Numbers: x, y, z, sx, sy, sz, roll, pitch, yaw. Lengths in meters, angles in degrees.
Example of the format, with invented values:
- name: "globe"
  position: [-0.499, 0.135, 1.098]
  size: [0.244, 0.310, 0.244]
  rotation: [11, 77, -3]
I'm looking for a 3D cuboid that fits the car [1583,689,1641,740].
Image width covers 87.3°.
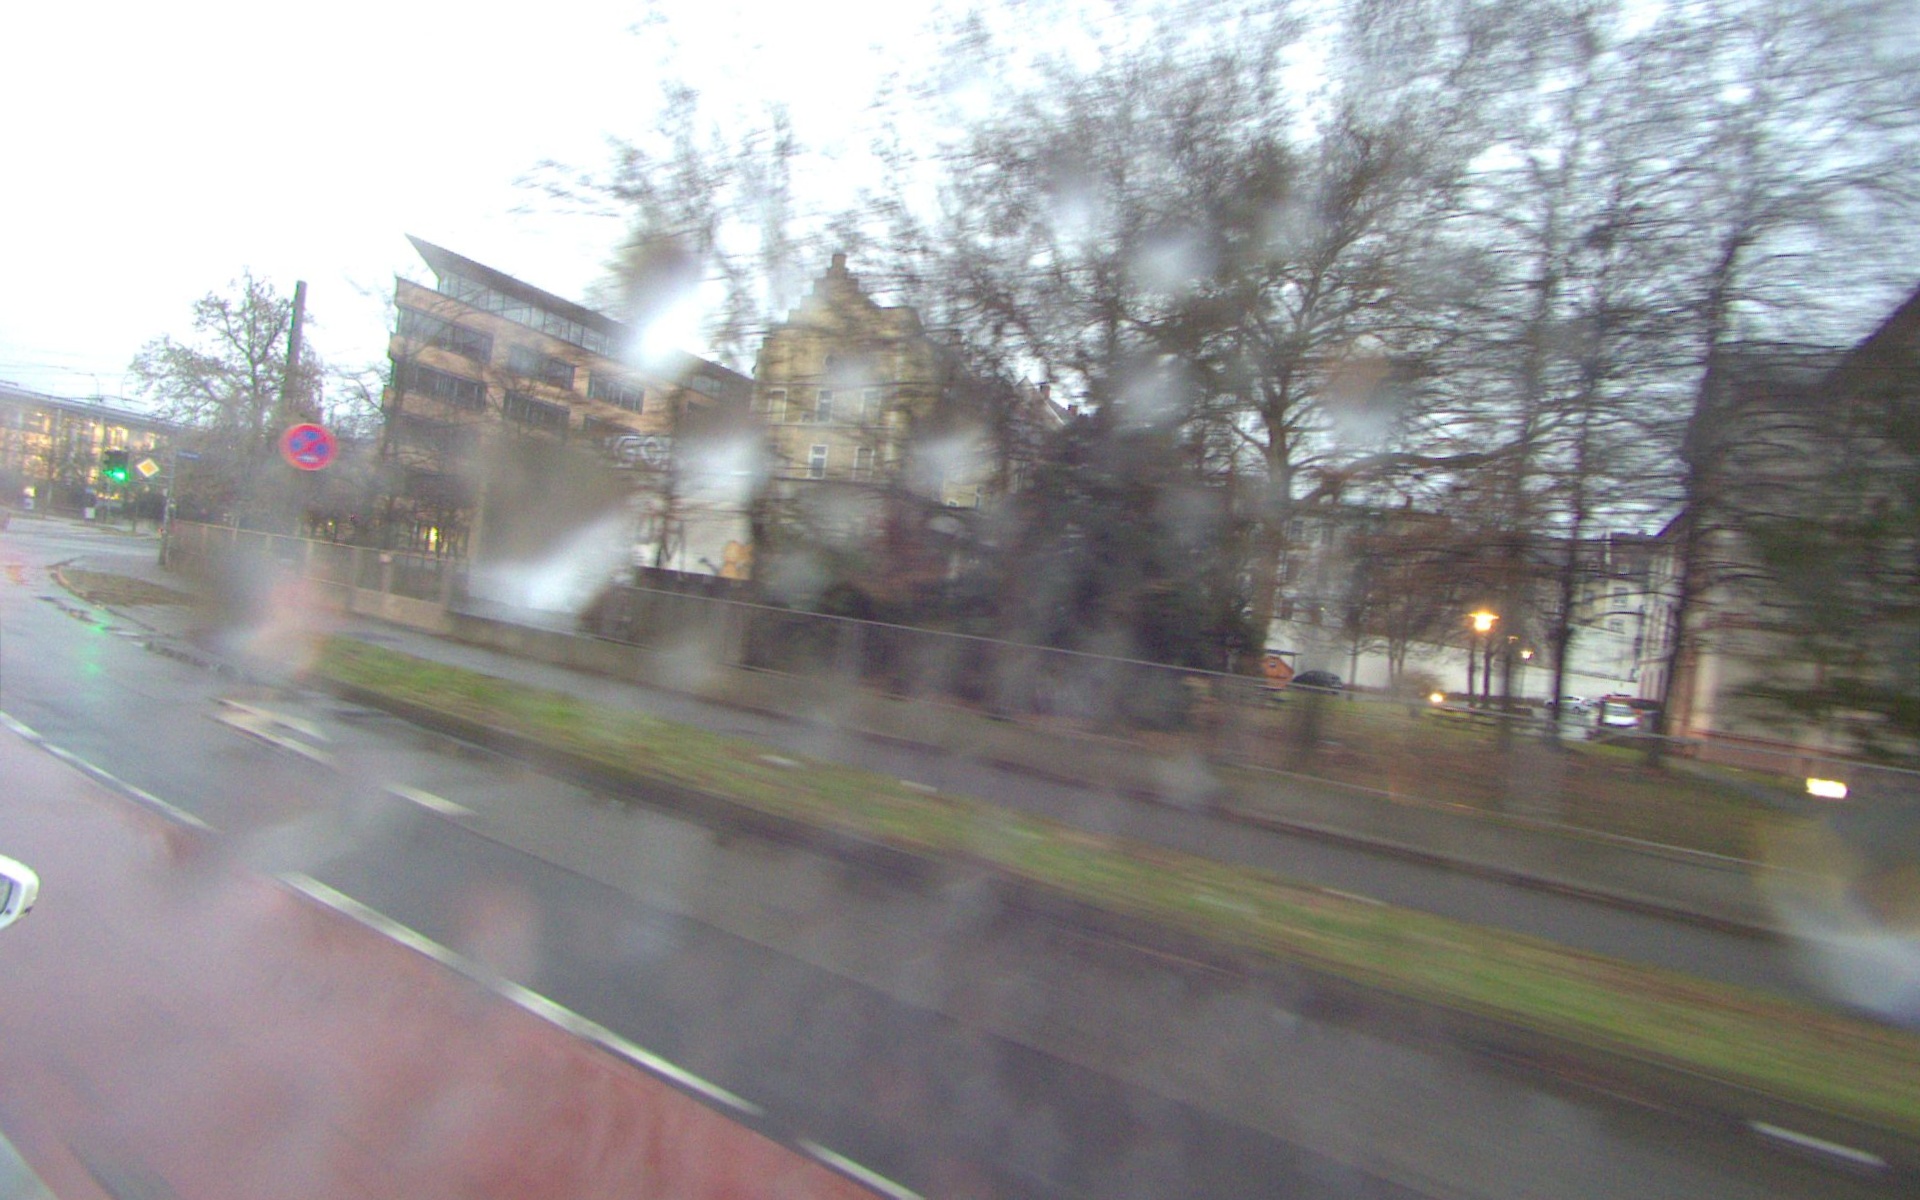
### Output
- name: "car"
  position: [28.804, 5.083, 44.416]
  size: [1.834, 1.941, 4.090]
  rotation: [6, -3, 35]

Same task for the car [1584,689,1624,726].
- name: "car"
  position: [41.098, 6.873, 64.174]
  size: [1.834, 1.941, 4.090]
  rotation: [6, -3, 35]

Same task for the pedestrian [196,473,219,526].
- name: "pedestrian"
  position: [-27.300, -3.649, 36.506]
  size: [0.568, 1.864, 0.676]
  rotation: [3, 4, -34]

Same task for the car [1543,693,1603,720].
- name: "car"
  position: [52.864, 9.162, 86.808]
  size: [1.711, 1.661, 4.073]
  rotation: [8, -2, -27]
